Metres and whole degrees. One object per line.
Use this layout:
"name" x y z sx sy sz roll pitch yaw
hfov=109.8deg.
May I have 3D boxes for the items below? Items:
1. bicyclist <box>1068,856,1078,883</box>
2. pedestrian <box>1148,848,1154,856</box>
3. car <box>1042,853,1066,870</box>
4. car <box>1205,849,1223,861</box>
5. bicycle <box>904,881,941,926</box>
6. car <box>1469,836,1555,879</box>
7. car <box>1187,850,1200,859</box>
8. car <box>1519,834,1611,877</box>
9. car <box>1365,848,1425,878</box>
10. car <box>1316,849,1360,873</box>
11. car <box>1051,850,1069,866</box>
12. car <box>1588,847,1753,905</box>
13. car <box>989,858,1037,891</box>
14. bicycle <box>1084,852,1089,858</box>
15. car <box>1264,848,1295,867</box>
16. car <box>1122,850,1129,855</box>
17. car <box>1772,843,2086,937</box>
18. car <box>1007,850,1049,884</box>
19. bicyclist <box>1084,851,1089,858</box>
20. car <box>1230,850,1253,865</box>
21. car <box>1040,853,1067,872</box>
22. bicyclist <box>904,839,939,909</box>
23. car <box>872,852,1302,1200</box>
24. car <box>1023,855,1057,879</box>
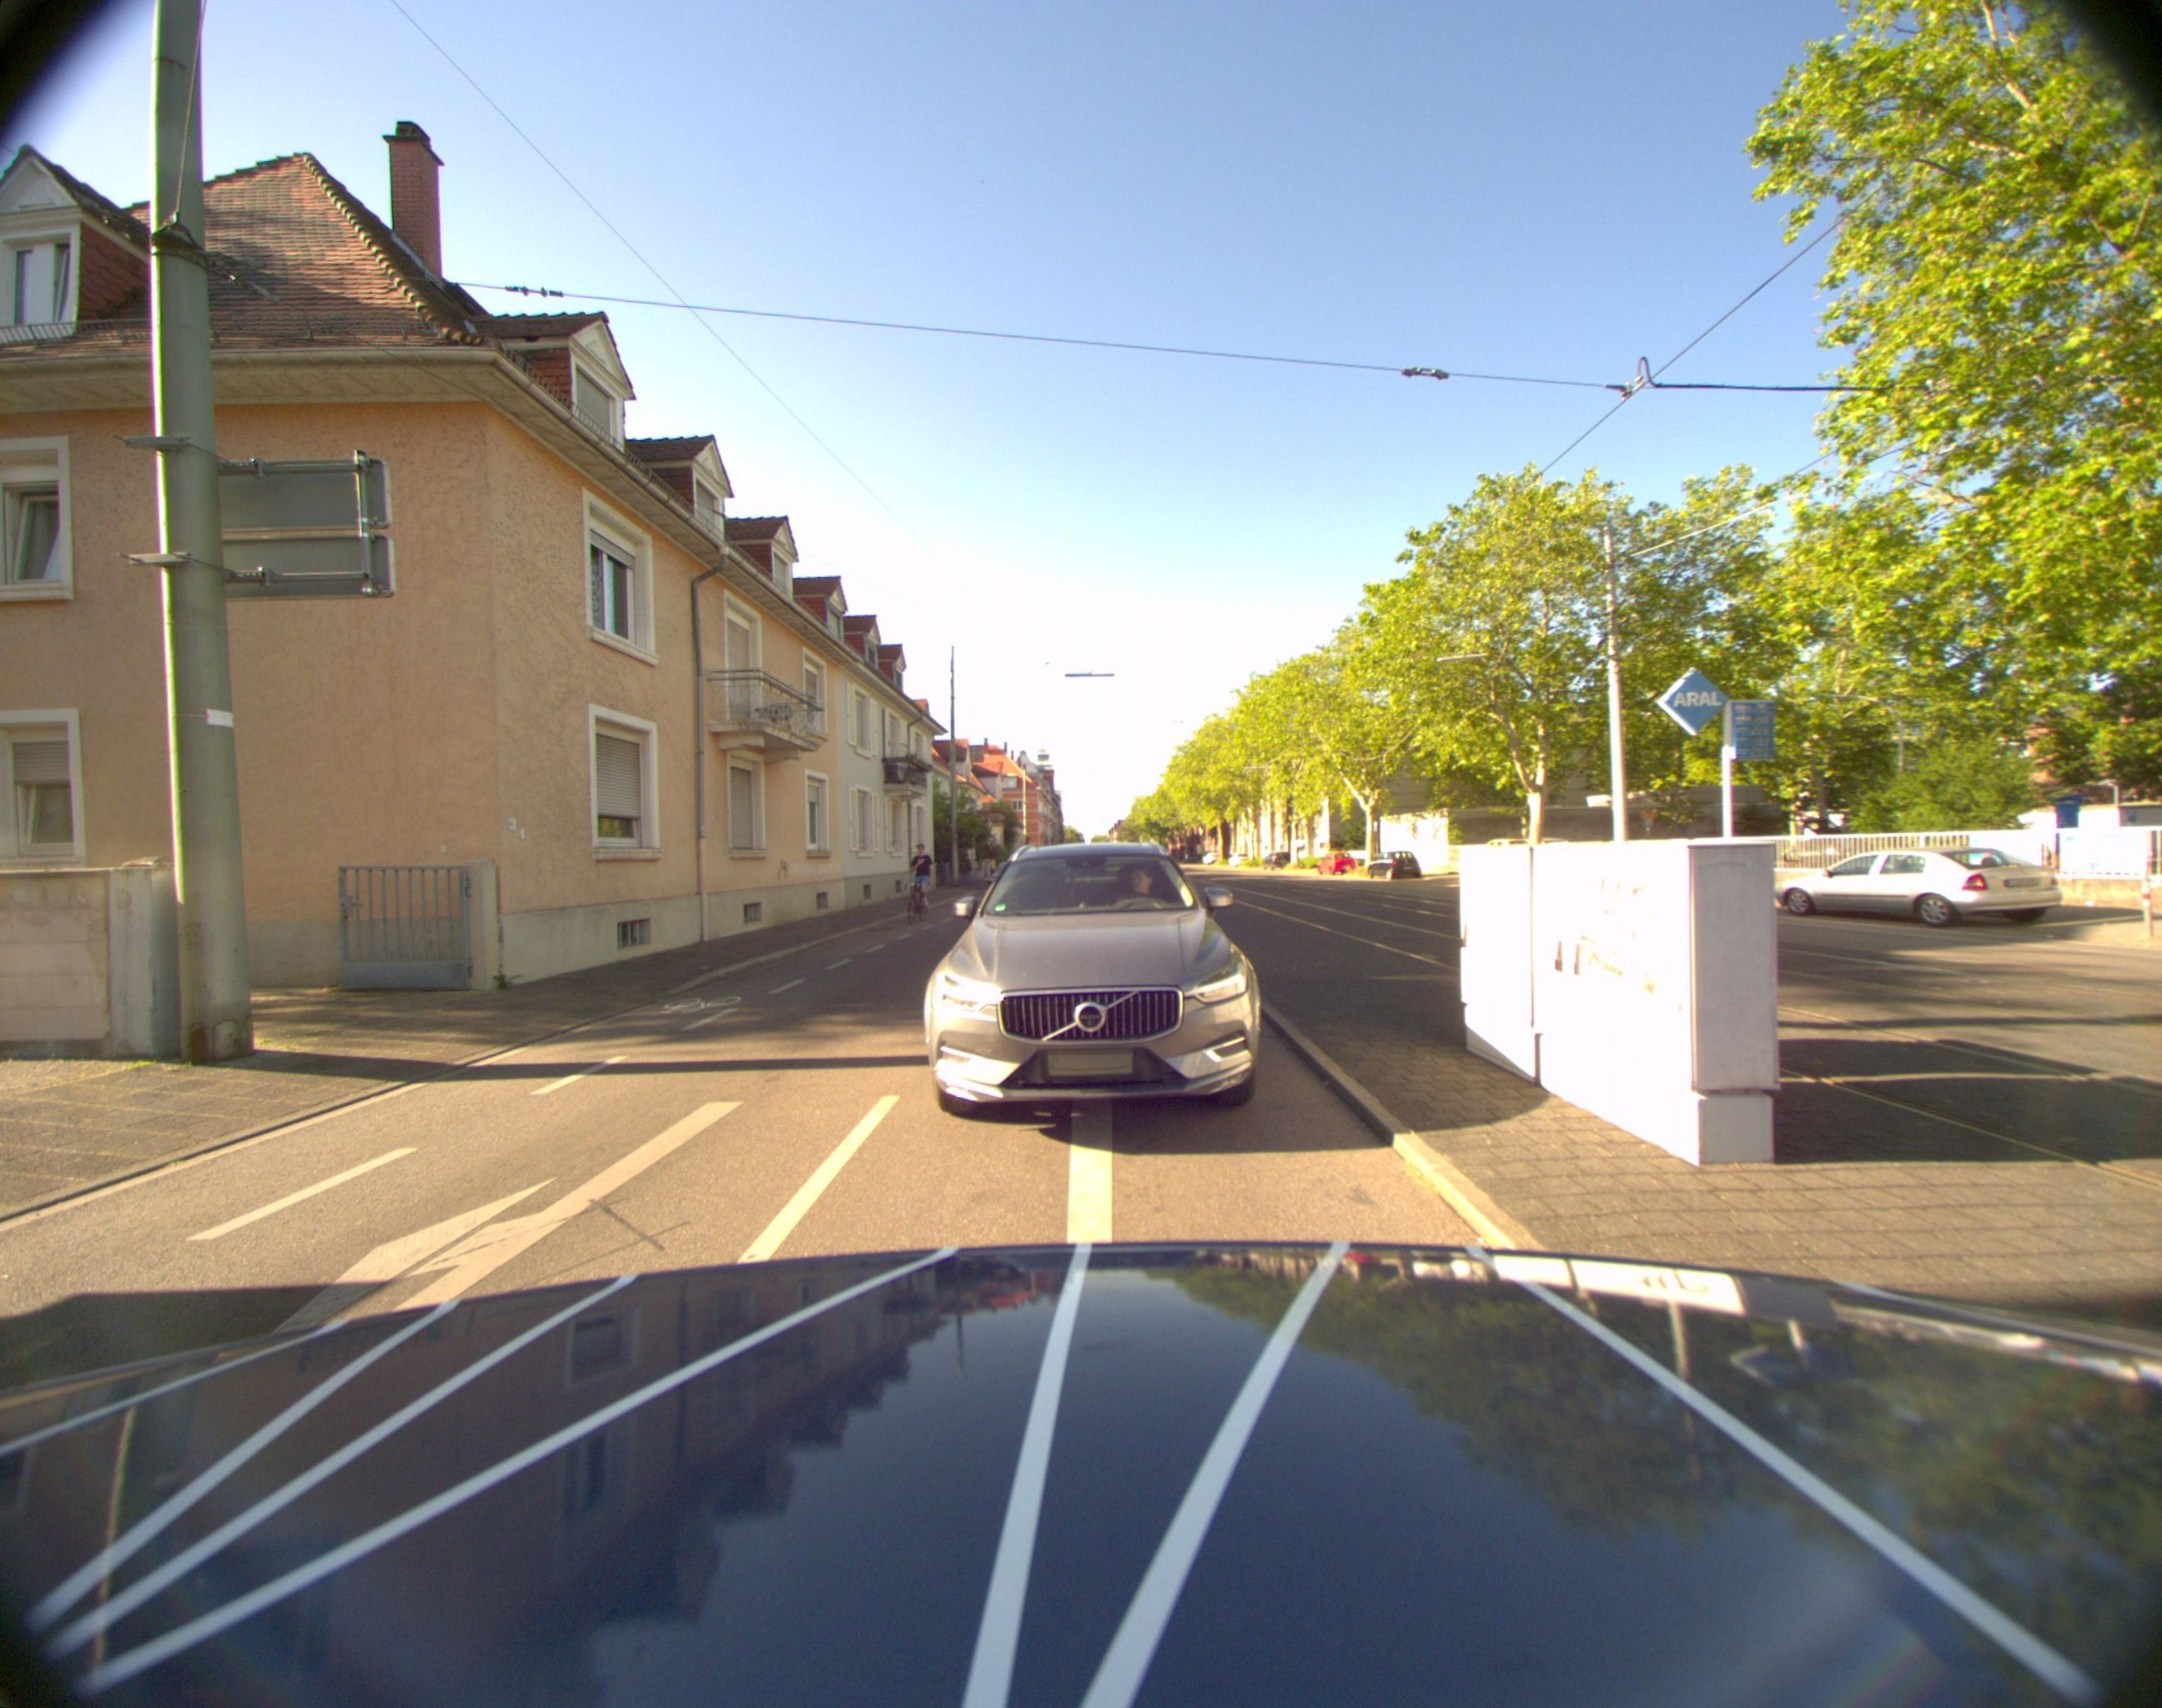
"bicyclist" -0.503 0.970 47.543 0.562 1.607 1.016 -2 1 0
"pedestrian" 19.609 -0.564 213.146 1.686 2.002 1.761 -1 1 1
"car" -2.346 0.612 66.372 1.867 1.399 4.078 -1 0 1
"car" 17.681 0.154 100.947 1.758 1.475 3.858 -3 0 3
"bicycle" -4.008 1.225 19.338 0.533 1.011 1.758 -1 0 1
"car" 21.818 0.165 38.650 1.999 2.002 3.999 -1 0 -1
"car" 18.518 0.046 125.303 1.758 1.475 3.858 -3 0 3
"car" 24.166 0.076 38.110 1.999 2.002 3.999 -1 0 -1
"car" 16.898 0.454 41.052 1.758 1.449 3.858 -3 0 3
"car" 16.911 0.446 50.194 1.717 1.421 3.858 -3 0 3
"car" -2.316 0.421 85.461 1.867 1.653 4.078 -1 0 1
"car" 16.484 0.566 21.525 1.745 1.389 3.858 -4 0 3
"car" -3.230 0.958 37.087 1.867 1.399 4.424 -1 0 1
"bicycle" 1.318 0.260 175.756 1.054 1.262 3.914 -1 0 1
"car" 17.181 0.287 65.925 1.758 1.536 3.858 -3 0 3
"car" 14.304 -0.553 241.952 1.998 1.685 4.000 -1 0 1
"car" 16.243 0.606 14.917 1.847 1.477 3.858 -4 0 2
"car" -2.907 0.695 42.841 1.867 1.778 5.297 -1 0 1
"bicyclist" 1.314 0.056 175.739 1.054 1.496 1.250 -1 1 1
"car" 17.587 0.347 83.353 1.758 1.475 3.858 -3 0 3
"car" -2.125 0.659 60.068 1.867 1.399 4.078 -1 0 1
"bicyclist" -4.044 0.486 19.334 0.561 1.721 1.084 -2 1 1
"car" 0.061 0.812 5.942 1.998 1.609 4.697 -1 0 1
"car" -2.571 0.807 48.509 1.867 1.399 4.078 -1 0 1
